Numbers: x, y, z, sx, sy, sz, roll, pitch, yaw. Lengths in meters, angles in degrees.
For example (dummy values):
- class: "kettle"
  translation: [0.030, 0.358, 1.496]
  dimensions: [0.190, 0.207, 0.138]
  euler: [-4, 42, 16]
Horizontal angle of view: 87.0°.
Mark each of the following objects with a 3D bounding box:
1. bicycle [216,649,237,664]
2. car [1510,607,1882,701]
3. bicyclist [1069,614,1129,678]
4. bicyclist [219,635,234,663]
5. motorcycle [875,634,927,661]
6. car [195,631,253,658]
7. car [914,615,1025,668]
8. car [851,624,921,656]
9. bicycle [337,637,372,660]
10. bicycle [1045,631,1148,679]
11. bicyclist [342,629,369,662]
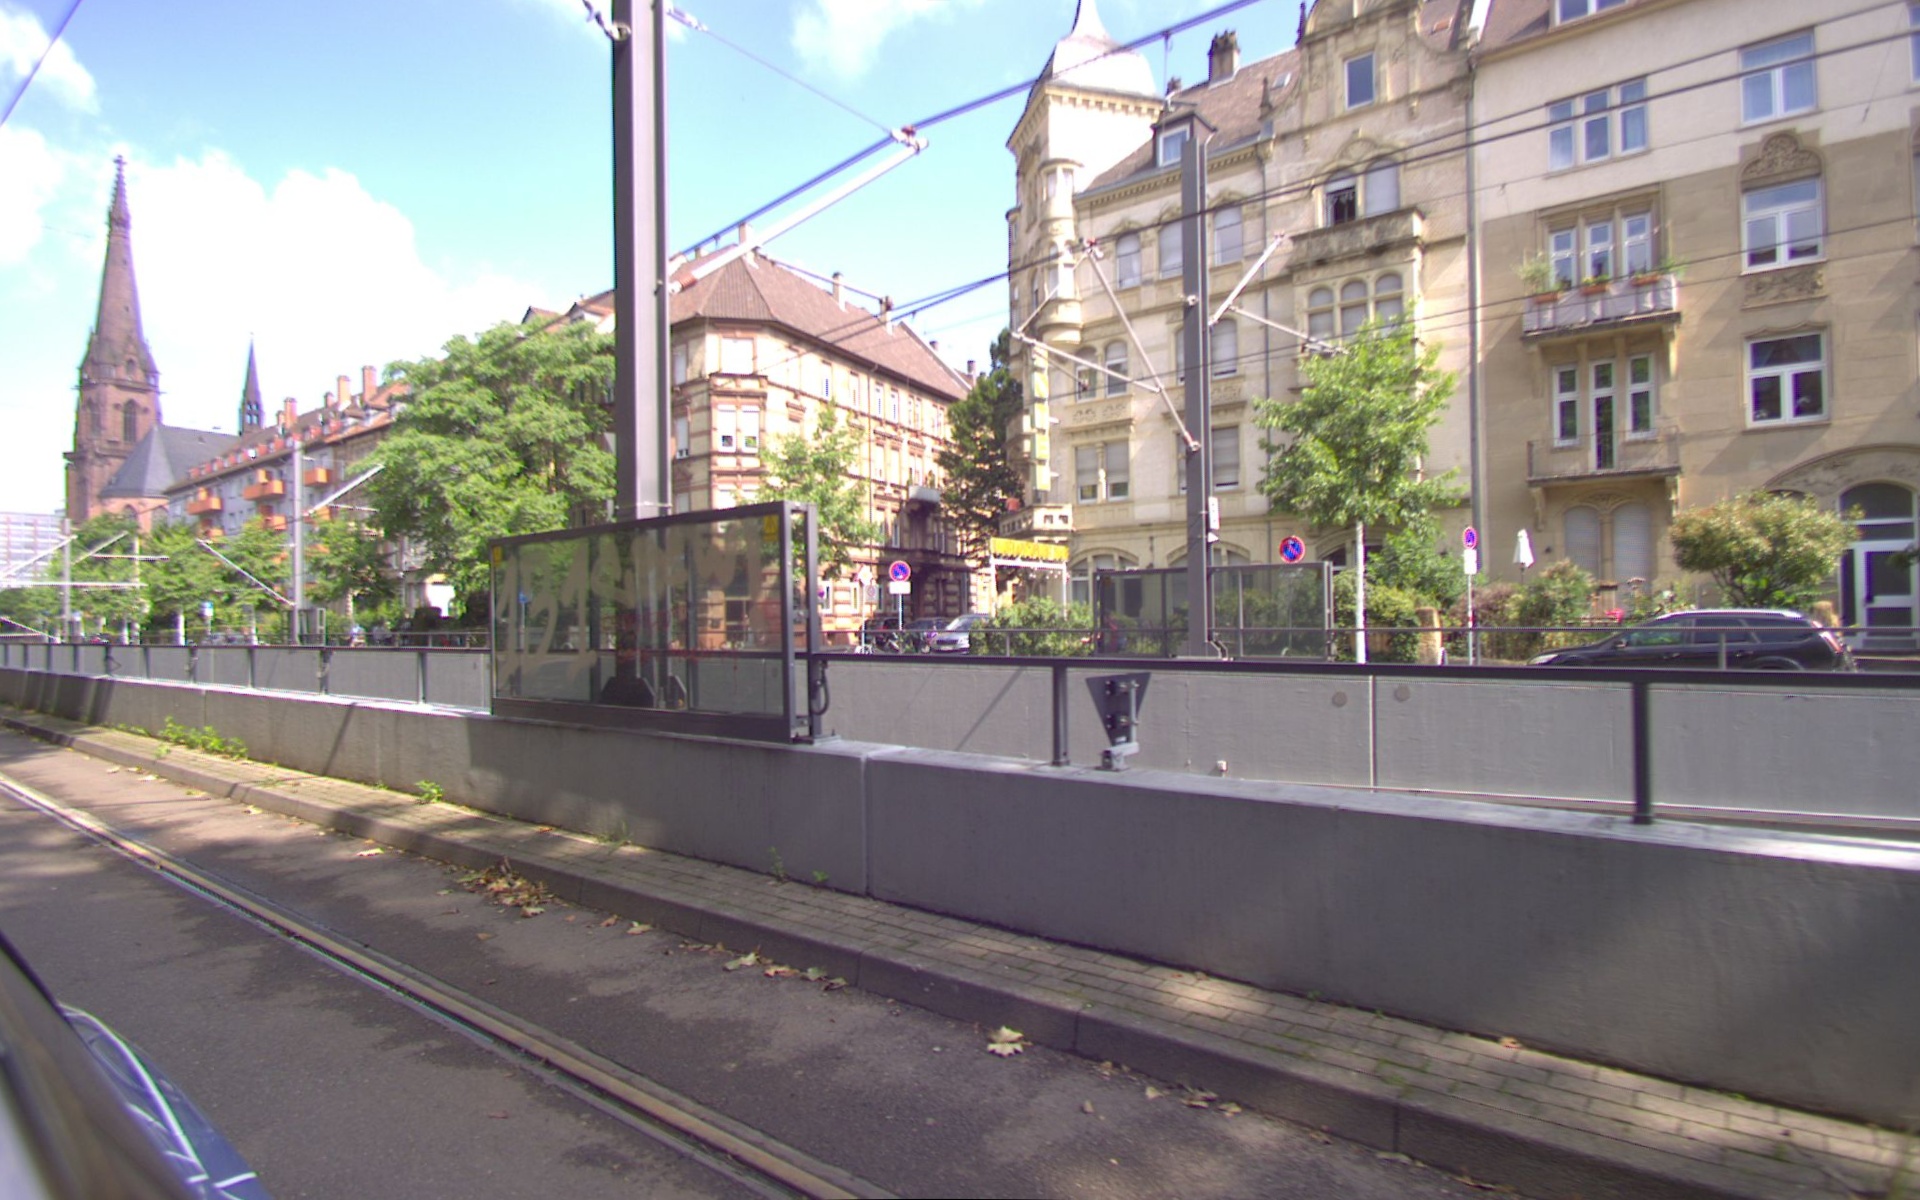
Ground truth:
- class: "bicycle"
  translation: [-41.229, 3.167, 56.909]
  dimensions: [1.814, 0.774, 0.491]
  euler: [-2, -3, 39]
- class: "car"
  translation: [11.939, 0.846, 16.723]
  dimensions: [4.721, 1.337, 1.929]
  euler: [-2, -2, 40]
- class: "bicyclist"
  translation: [3.014, 0.989, 21.936]
  dimensions: [1.048, 1.348, 0.760]
  euler: [-2, -4, 39]
- class: "bicyclist"
  translation: [-41.242, 2.762, 56.893]
  dimensions: [0.606, 1.556, 0.498]
  euler: [-2, -3, 38]
- class: "motorcycle"
  translation: [-2.268, 1.807, 38.783]
  dimensions: [1.990, 1.002, 0.518]
  euler: [-2, -2, 27]
- class: "car"
  translation: [-46.739, 2.824, 64.260]
  dimensions: [4.109, 1.650, 1.974]
  euler: [-2, -2, 39]
- class: "car"
  translation: [0.371, 1.339, 33.688]
  dimensions: [2.028, 1.618, 3.922]
  euler: [-2, -1, 30]
- class: "car"
  translation: [-3.730, 2.005, 51.846]
  dimensions: [1.915, 1.547, 3.965]
  euler: [0, -1, 25]
- class: "bicycle"
  translation: [-27.375, 2.178, 45.762]
  dimensions: [1.896, 1.003, 0.719]
  euler: [-2, -3, 39]
- class: "bicycle"
  translation: [2.950, 1.184, 21.983]
  dimensions: [2.138, 0.986, 0.768]
  euler: [-2, -4, 40]
- class: "bicyclist"
  translation: [-27.317, 2.058, 45.740]
  dimensions: [0.977, 1.490, 0.731]
  euler: [-2, -3, 38]
